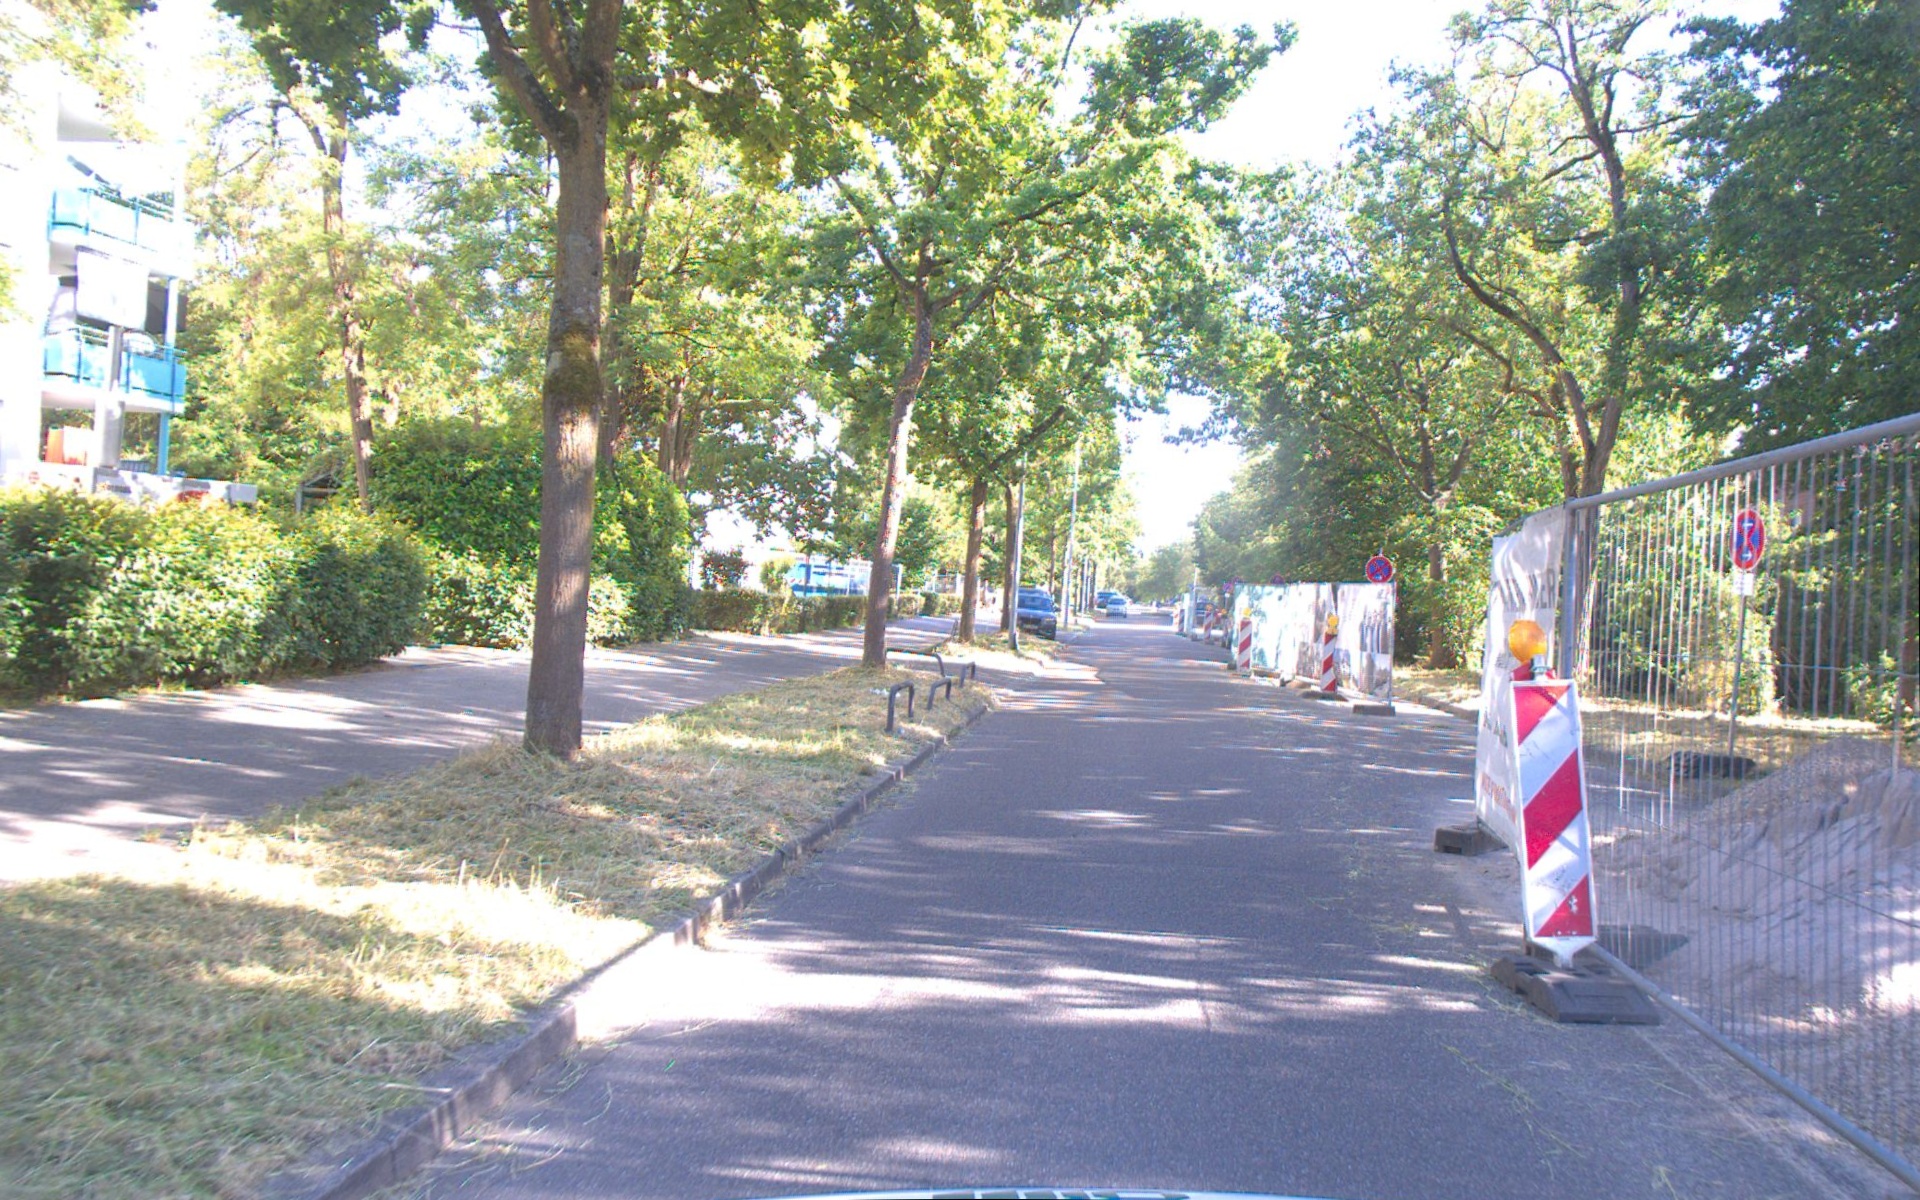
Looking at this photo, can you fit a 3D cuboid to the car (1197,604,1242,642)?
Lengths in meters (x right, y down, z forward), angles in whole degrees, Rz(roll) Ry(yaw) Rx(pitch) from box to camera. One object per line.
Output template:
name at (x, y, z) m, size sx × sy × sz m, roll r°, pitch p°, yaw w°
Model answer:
car at (9.995, 0.873, 63.845) m, size 1.333 × 1.324 × 3.482 m, roll 5°, pitch 0°, yaw 3°

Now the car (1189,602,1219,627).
car at (15.663, 0.904, 106.412) m, size 1.756 × 1.434 × 4.003 m, roll 4°, pitch 0°, yaw 7°

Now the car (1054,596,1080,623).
car at (5.813, 0.539, 89.916) m, size 1.333 × 1.324 × 3.482 m, roll 5°, pitch 0°, yaw 3°

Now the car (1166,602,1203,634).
car at (10.414, 0.844, 76.843) m, size 1.333 × 1.324 × 3.482 m, roll 5°, pitch 0°, yaw 3°

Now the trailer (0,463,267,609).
trailer at (-13.392, -0.953, 26.487) m, size 1.934 × 2.078 × 4.433 m, roll 3°, pitch 0°, yaw 13°

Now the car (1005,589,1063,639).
car at (2.485, 0.446, 54.735) m, size 1.714 × 1.503 × 3.838 m, roll 4°, pitch 0°, yaw 4°

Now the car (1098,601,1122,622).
car at (12.435, 0.975, 137.014) m, size 1.675 × 1.612 × 4.001 m, roll 5°, pitch 0°, yaw 2°
